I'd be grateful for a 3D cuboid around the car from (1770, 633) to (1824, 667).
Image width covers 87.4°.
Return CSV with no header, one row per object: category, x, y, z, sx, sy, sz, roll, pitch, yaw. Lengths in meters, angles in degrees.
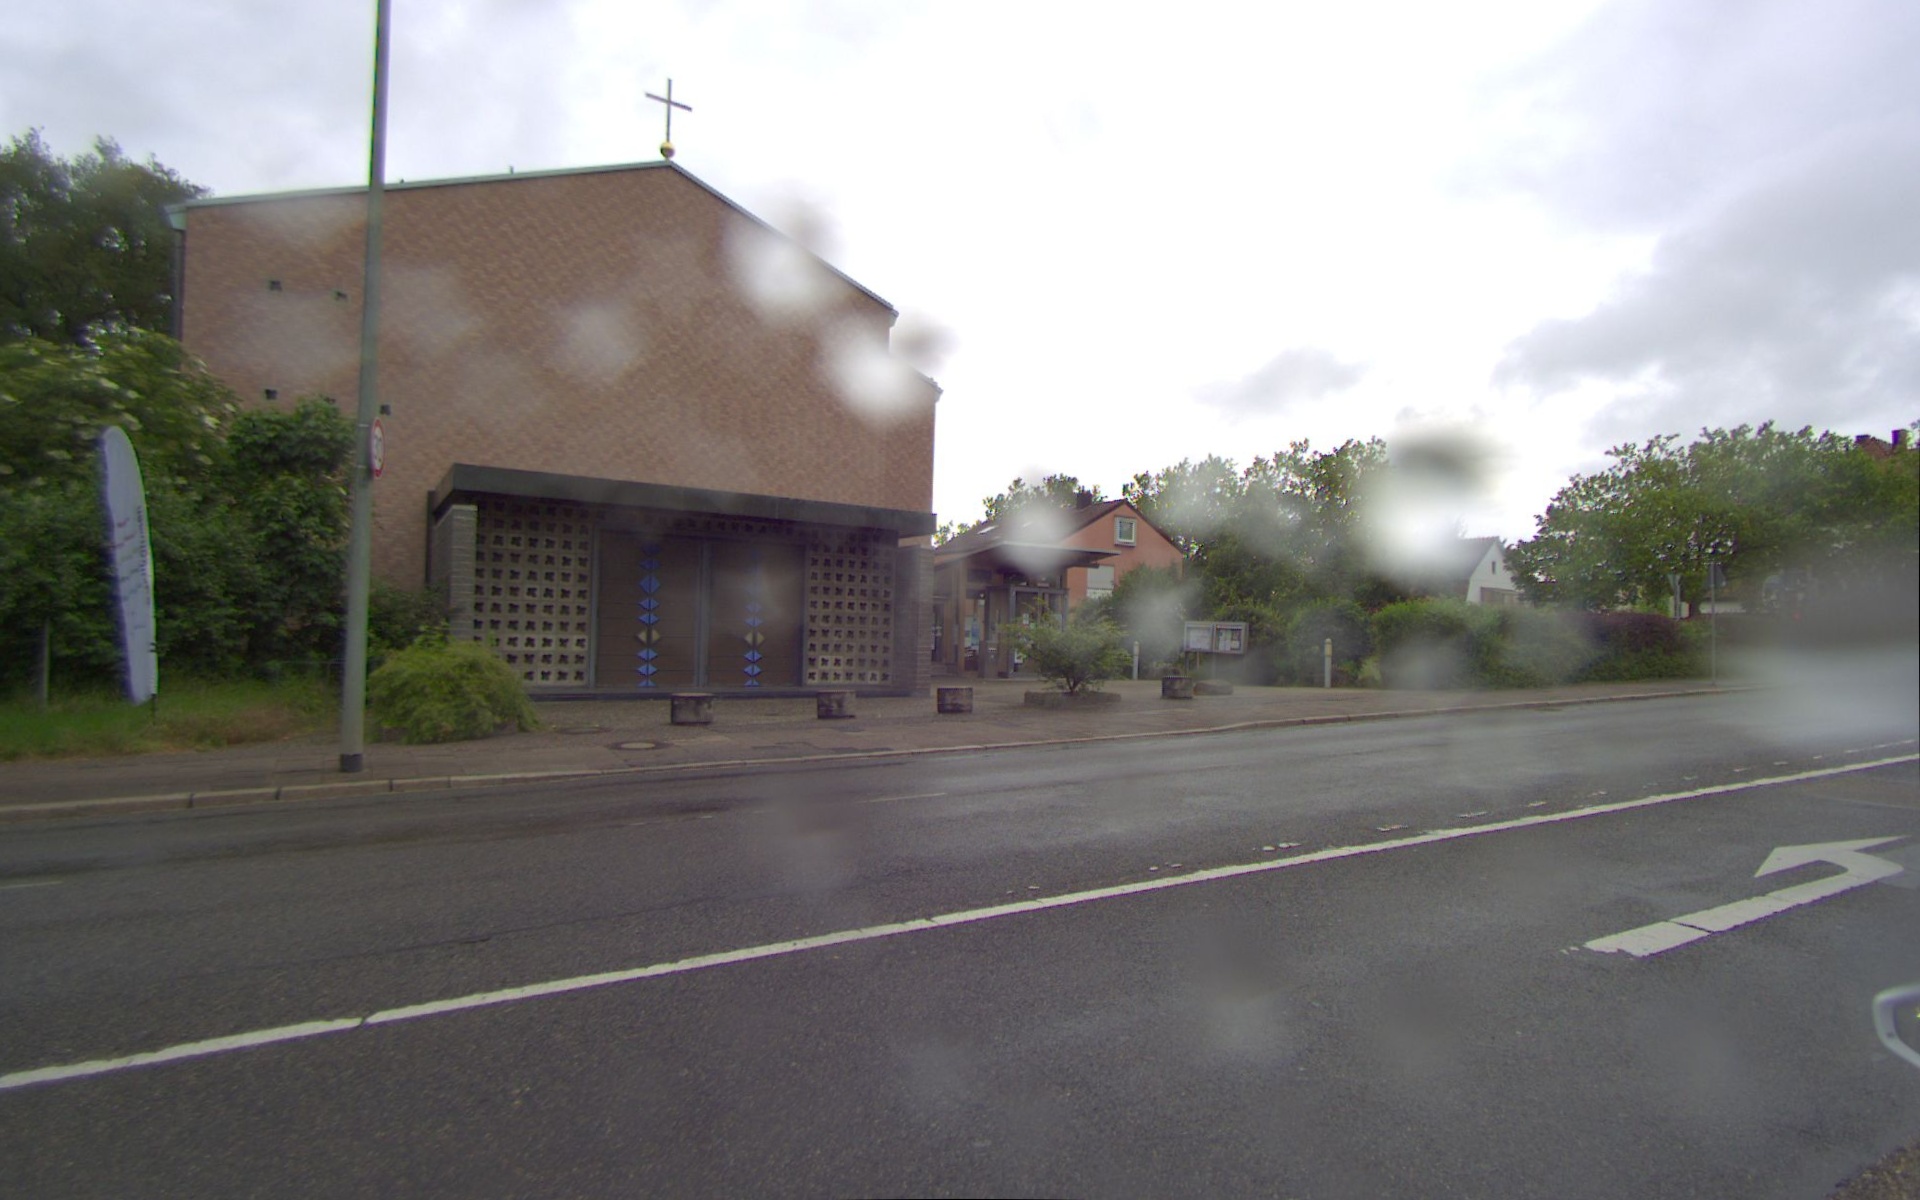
car,42.282,2.482,50.792,1.969,1.572,3.983,0,-1,38
